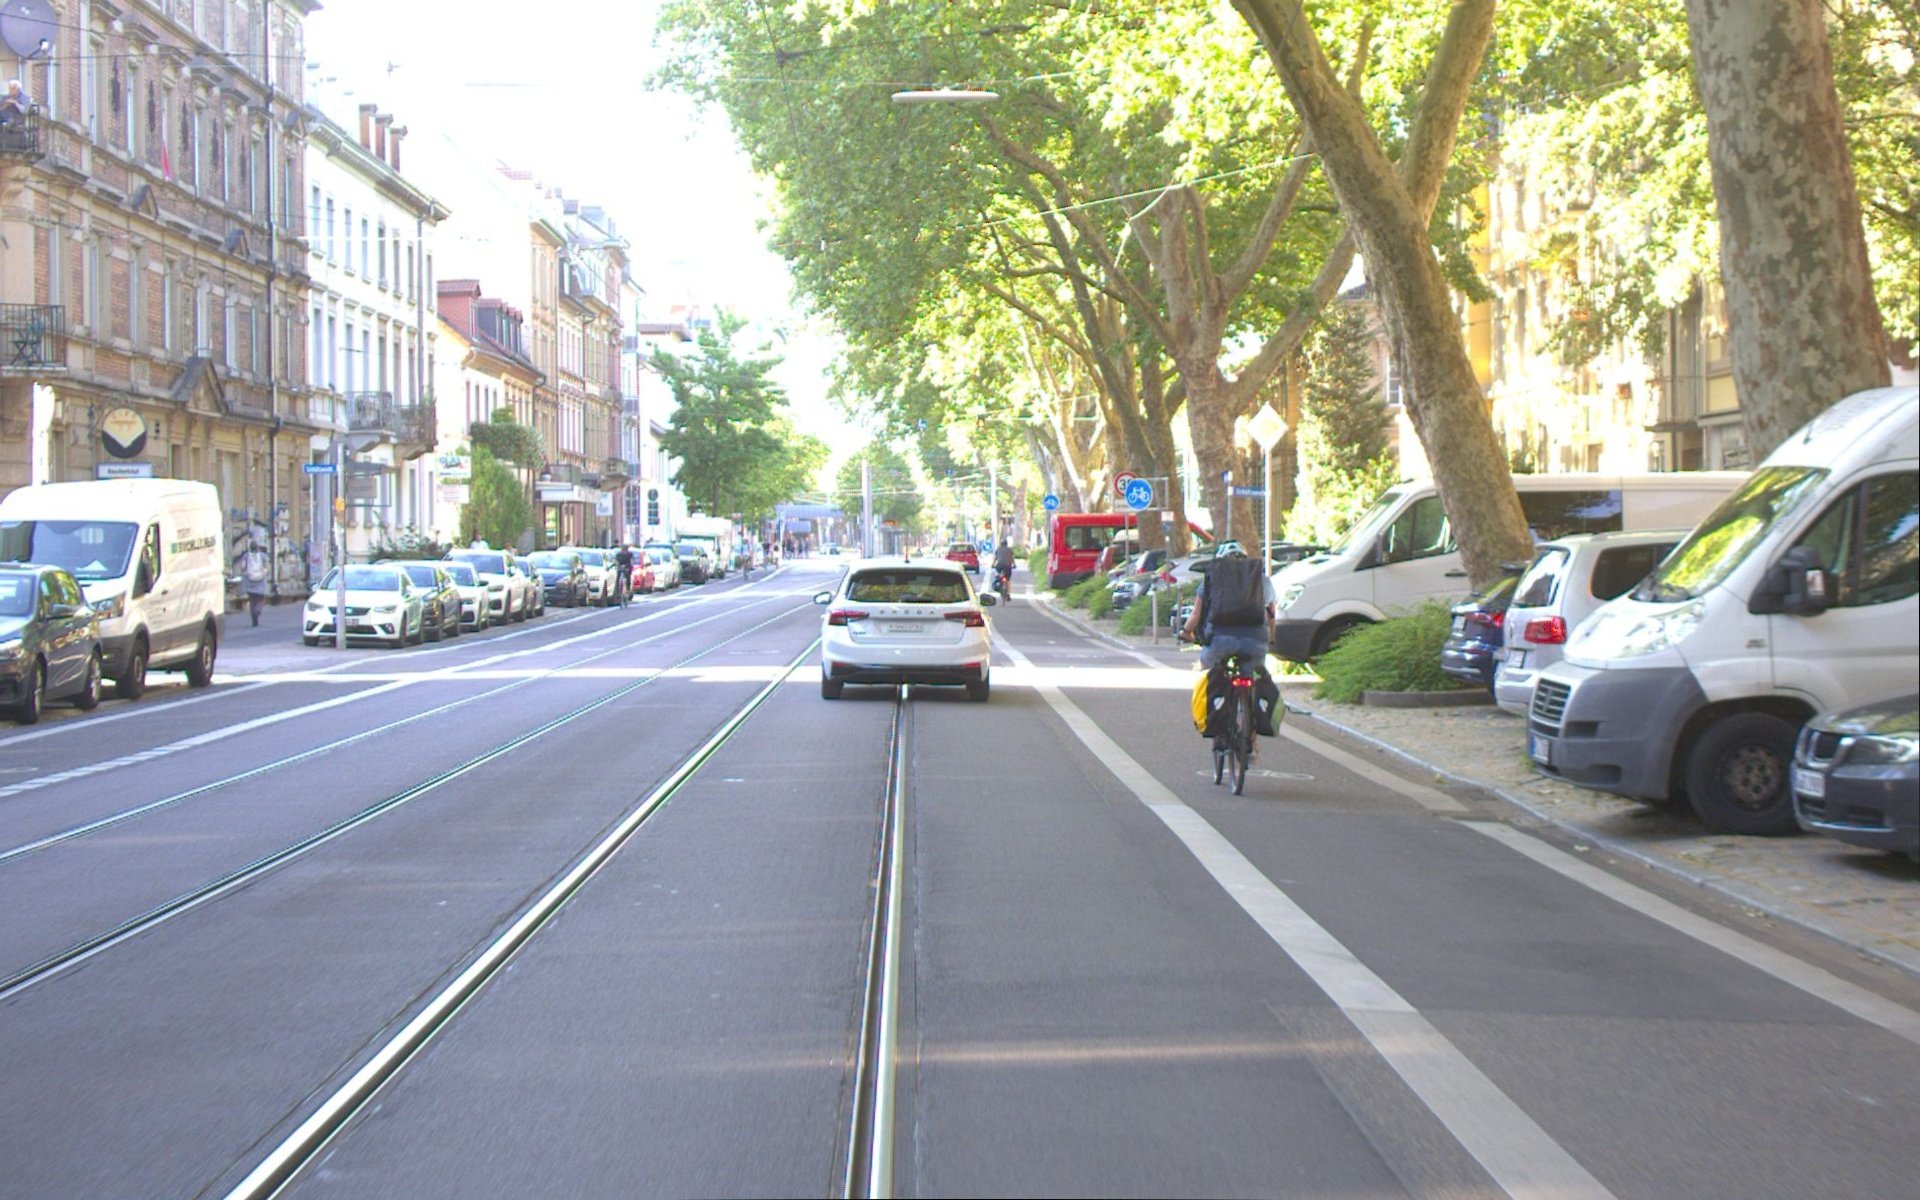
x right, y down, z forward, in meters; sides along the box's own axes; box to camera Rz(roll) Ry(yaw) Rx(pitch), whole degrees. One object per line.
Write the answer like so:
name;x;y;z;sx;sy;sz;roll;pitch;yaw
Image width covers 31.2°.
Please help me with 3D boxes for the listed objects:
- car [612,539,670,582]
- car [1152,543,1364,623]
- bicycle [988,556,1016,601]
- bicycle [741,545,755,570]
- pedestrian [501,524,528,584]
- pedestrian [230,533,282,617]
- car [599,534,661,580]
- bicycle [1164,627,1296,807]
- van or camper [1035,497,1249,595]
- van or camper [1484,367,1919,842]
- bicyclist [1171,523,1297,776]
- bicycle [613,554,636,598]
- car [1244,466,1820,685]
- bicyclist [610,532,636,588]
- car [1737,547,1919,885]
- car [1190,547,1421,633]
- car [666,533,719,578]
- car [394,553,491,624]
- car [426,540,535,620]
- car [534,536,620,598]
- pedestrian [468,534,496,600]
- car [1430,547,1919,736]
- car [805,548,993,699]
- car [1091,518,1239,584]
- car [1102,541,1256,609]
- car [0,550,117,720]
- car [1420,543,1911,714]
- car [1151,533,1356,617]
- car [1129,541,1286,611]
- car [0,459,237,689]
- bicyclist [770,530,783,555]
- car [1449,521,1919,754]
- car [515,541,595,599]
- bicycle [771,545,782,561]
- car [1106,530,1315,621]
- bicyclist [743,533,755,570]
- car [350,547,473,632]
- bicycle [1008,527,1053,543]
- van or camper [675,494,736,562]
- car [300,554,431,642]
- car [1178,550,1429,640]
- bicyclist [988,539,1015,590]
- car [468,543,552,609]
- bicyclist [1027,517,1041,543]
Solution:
car;-11.499;-1.437;124.103;1.827;1.497;4.689;1;1;-2
car;5.941;-0.354;68.771;4.027;1.475;1.681;-1;1;-2
bicycle;1.110;-0.585;91.456;0.680;1.151;2.964;1;1;0
bicycle;-9.356;-1.870;152.041;0.481;1.082;1.846;-1;1;1
pedestrian;-13.540;-1.391;104.548;0.759;1.815;0.830;0;1;-3
pedestrian;-14.114;-0.502;68.941;0.663;1.659;0.767;1;1;31
car;-11.396;-1.496;118.943;1.569;1.557;3.448;-1;1;4
bicycle;1.720;0.722;22.182;0.595;1.001;2.511;2;1;0
van or camper;5.169;-1.550;98.062;5.814;2.510;2.288;-2;2;-2
van or camper;6.135;-0.023;19.232;6.032;2.482;2.107;-1;1;-1
bicyclist;1.753;0.301;22.085;0.614;1.547;0.935;4;1;0
bicycle;-9.010;-0.644;92.237;0.421;1.146;2.232;-1;1;-1
car;6.188;-0.296;37.707;5.991;2.274;2.006;-1;2;1
bicyclist;-9.034;-1.069;92.144;0.582;1.477;0.807;-1;1;-1
car;6.197;0.549;16.721;4.388;1.546;1.783;1;1;-1
car;6.219;-0.191;62.194;4.097;1.486;1.681;0;1;4
car;-11.333;-1.907;145.779;1.964;1.775;4.938;2;1;-2
car;-10.808;-0.262;71.989;1.699;1.415;4.001;1;1;-5
car;-10.738;-0.471;77.241;1.786;1.717;4.719;1;1;0
car;-10.860;-0.956;97.665;1.856;1.698;4.763;-1;1;1
pedestrian;-14.526;-1.012;104.567;0.759;2.007;0.830;0;1;-2
car;6.049;0.320;28.741;3.954;1.473;1.796;-1;1;-1
car;-0.678;0.202;35.772;1.842;1.475;3.839;1;1;-2
car;5.563;-1.330;93.600;3.818;1.643;1.767;-2;0;-3
car;5.310;-0.613;83.792;3.595;1.512;1.694;-2;1;0
car;-10.005;0.316;35.358;1.718;1.626;4.347;0;1;-2
car;6.362;0.237;31.297;4.053;1.455;1.796;-1;1;-2
car;6.072;-0.539;71.397;4.027;1.638;1.681;-1;1;-2
car;5.841;-0.573;81.272;3.595;1.594;1.541;-1;0;0
car;-10.284;-0.334;40.883;2.065;2.527;5.667;0;1;1
bicyclist;-10.836;-3.388;203.073;0.638;1.498;1.070;-2;1;1
car;5.836;0.256;25.921;3.954;1.650;1.796;-1;0;-3
car;-10.884;-0.822;92.540;1.554;1.510;3.924;-1;1;2
bicycle;-10.827;-2.777;203.078;0.499;0.940;1.921;-2;1;1
car;5.399;-0.543;74.430;4.261;1.713;1.849;-3;1;-2
bicyclist;-9.335;-2.164;152.213;0.473;1.630;0.800;-1;1;0
car;-10.601;-0.227;66.681;1.740;1.557;4.787;1;1;-2
bicycle;4.466;-4.087;216.660;2.771;0.996;0.592;1;1;15
van or camper;-12.090;-3.412;163.917;2.216;3.129;7.113;1;1;1
car;-10.585;-0.058;61.463;1.740;1.486;4.045;1;1;-2
car;5.927;-0.099;59.633;4.096;1.486;1.831;0;1;-3
bicyclist;1.095;-0.939;91.414;0.679;1.334;0.525;1;1;0
car;-10.828;-0.593;82.927;1.662;1.515;4.065;1;1;-3
bicyclist;4.678;-4.407;216.606;0.737;1.583;0.586;-1;1;12
